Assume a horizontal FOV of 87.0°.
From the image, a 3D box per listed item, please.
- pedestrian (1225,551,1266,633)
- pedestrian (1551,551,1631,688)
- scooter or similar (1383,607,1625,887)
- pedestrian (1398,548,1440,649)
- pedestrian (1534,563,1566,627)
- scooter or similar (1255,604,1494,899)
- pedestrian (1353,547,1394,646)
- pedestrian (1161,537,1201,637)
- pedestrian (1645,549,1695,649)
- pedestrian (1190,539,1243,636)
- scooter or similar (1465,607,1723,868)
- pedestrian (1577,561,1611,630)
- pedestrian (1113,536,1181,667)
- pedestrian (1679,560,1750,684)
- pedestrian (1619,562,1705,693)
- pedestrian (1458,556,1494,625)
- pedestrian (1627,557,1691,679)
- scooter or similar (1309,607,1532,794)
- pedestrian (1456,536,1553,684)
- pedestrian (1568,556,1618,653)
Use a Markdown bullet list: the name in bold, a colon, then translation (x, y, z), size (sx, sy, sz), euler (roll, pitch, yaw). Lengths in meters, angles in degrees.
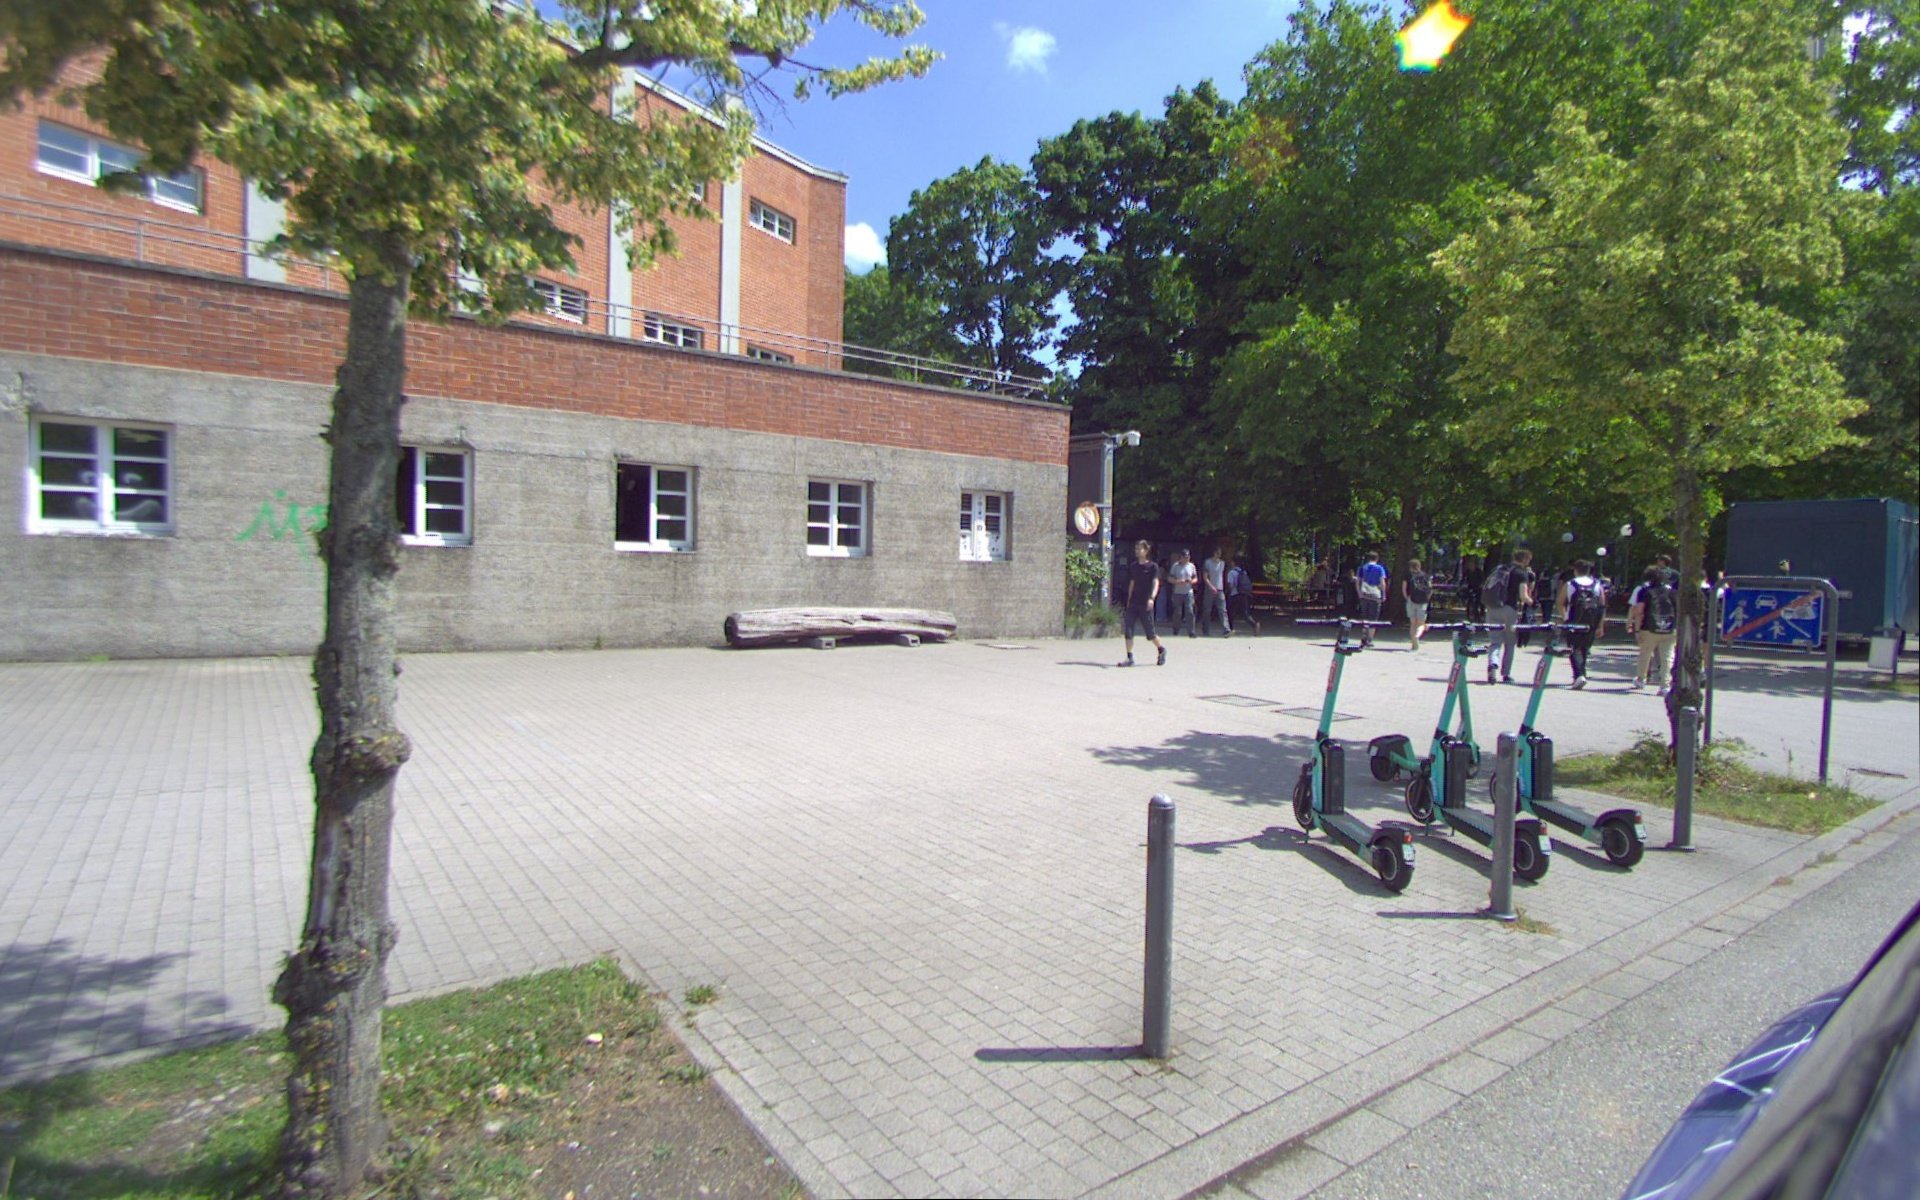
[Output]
- **pedestrian**: translation (6.030, -0.161, 21.385), size (0.554, 1.677, 0.780), euler (2, -1, -6)
- **pedestrian**: translation (8.718, 0.244, 14.016), size (0.773, 1.813, 0.709), euler (3, 2, 24)
- **scooter or similar**: translation (2.810, 0.701, 5.355), size (0.565, 1.259, 1.144), euler (2, 2, -2)
- **pedestrian**: translation (8.489, -0.038, 18.715), size (0.538, 1.816, 0.637), euler (3, 2, 34)
- **pedestrian**: translation (14.871, -0.137, 25.517), size (0.634, 1.576, 0.569), euler (3, 2, 29)
- **scooter or similar**: translation (2.042, 0.682, 5.185), size (0.565, 1.245, 1.357), euler (2, 2, -2)
- **pedestrian**: translation (7.795, -0.084, 19.087), size (0.561, 1.816, 0.637), euler (3, 2, 31)
- **pedestrian**: translation (4.473, -0.254, 20.526), size (0.555, 1.954, 0.890), euler (2, -1, -2)
- **pedestrian**: translation (13.788, -0.030, 19.660), size (0.633, 1.893, 0.533), euler (3, 2, 26)
- **pedestrian**: translation (5.262, -0.244, 20.798), size (0.655, 1.911, 0.974), euler (2, -1, -12)
- **scooter or similar**: translation (3.512, 0.699, 5.738), size (0.565, 1.248, 1.266), euler (2, 2, -2)
- **pedestrian**: translation (15.733, -0.116, 25.123), size (0.635, 1.659, 0.557), euler (3, 2, 33)
- **pedestrian**: translation (2.659, -0.004, 14.381), size (0.584, 1.799, 0.787), euler (3, 3, 42)
- **pedestrian**: translation (11.127, 0.304, 14.946), size (0.615, 1.760, 0.768), euler (3, 2, 24)
- **pedestrian**: translation (9.515, 0.350, 13.752), size (0.743, 1.693, 0.839), euler (3, 2, 25)
- **pedestrian**: translation (13.633, -0.244, 26.720), size (0.666, 1.788, 0.787), euler (2, 0, 38)
- **pedestrian**: translation (10.517, 0.251, 15.252), size (0.596, 1.774, 0.758), euler (3, 2, 25)
- **scooter or similar**: translation (3.273, 0.678, 7.192), size (1.447, 1.194, 0.577), euler (1, 2, -24)
- **pedestrian**: translation (7.632, 0.115, 14.250), size (0.970, 1.970, 0.972), euler (2, 2, 19)
- **pedestrian**: translation (11.736, 0.069, 18.785), size (0.633, 1.728, 0.709), euler (3, 2, 25)
